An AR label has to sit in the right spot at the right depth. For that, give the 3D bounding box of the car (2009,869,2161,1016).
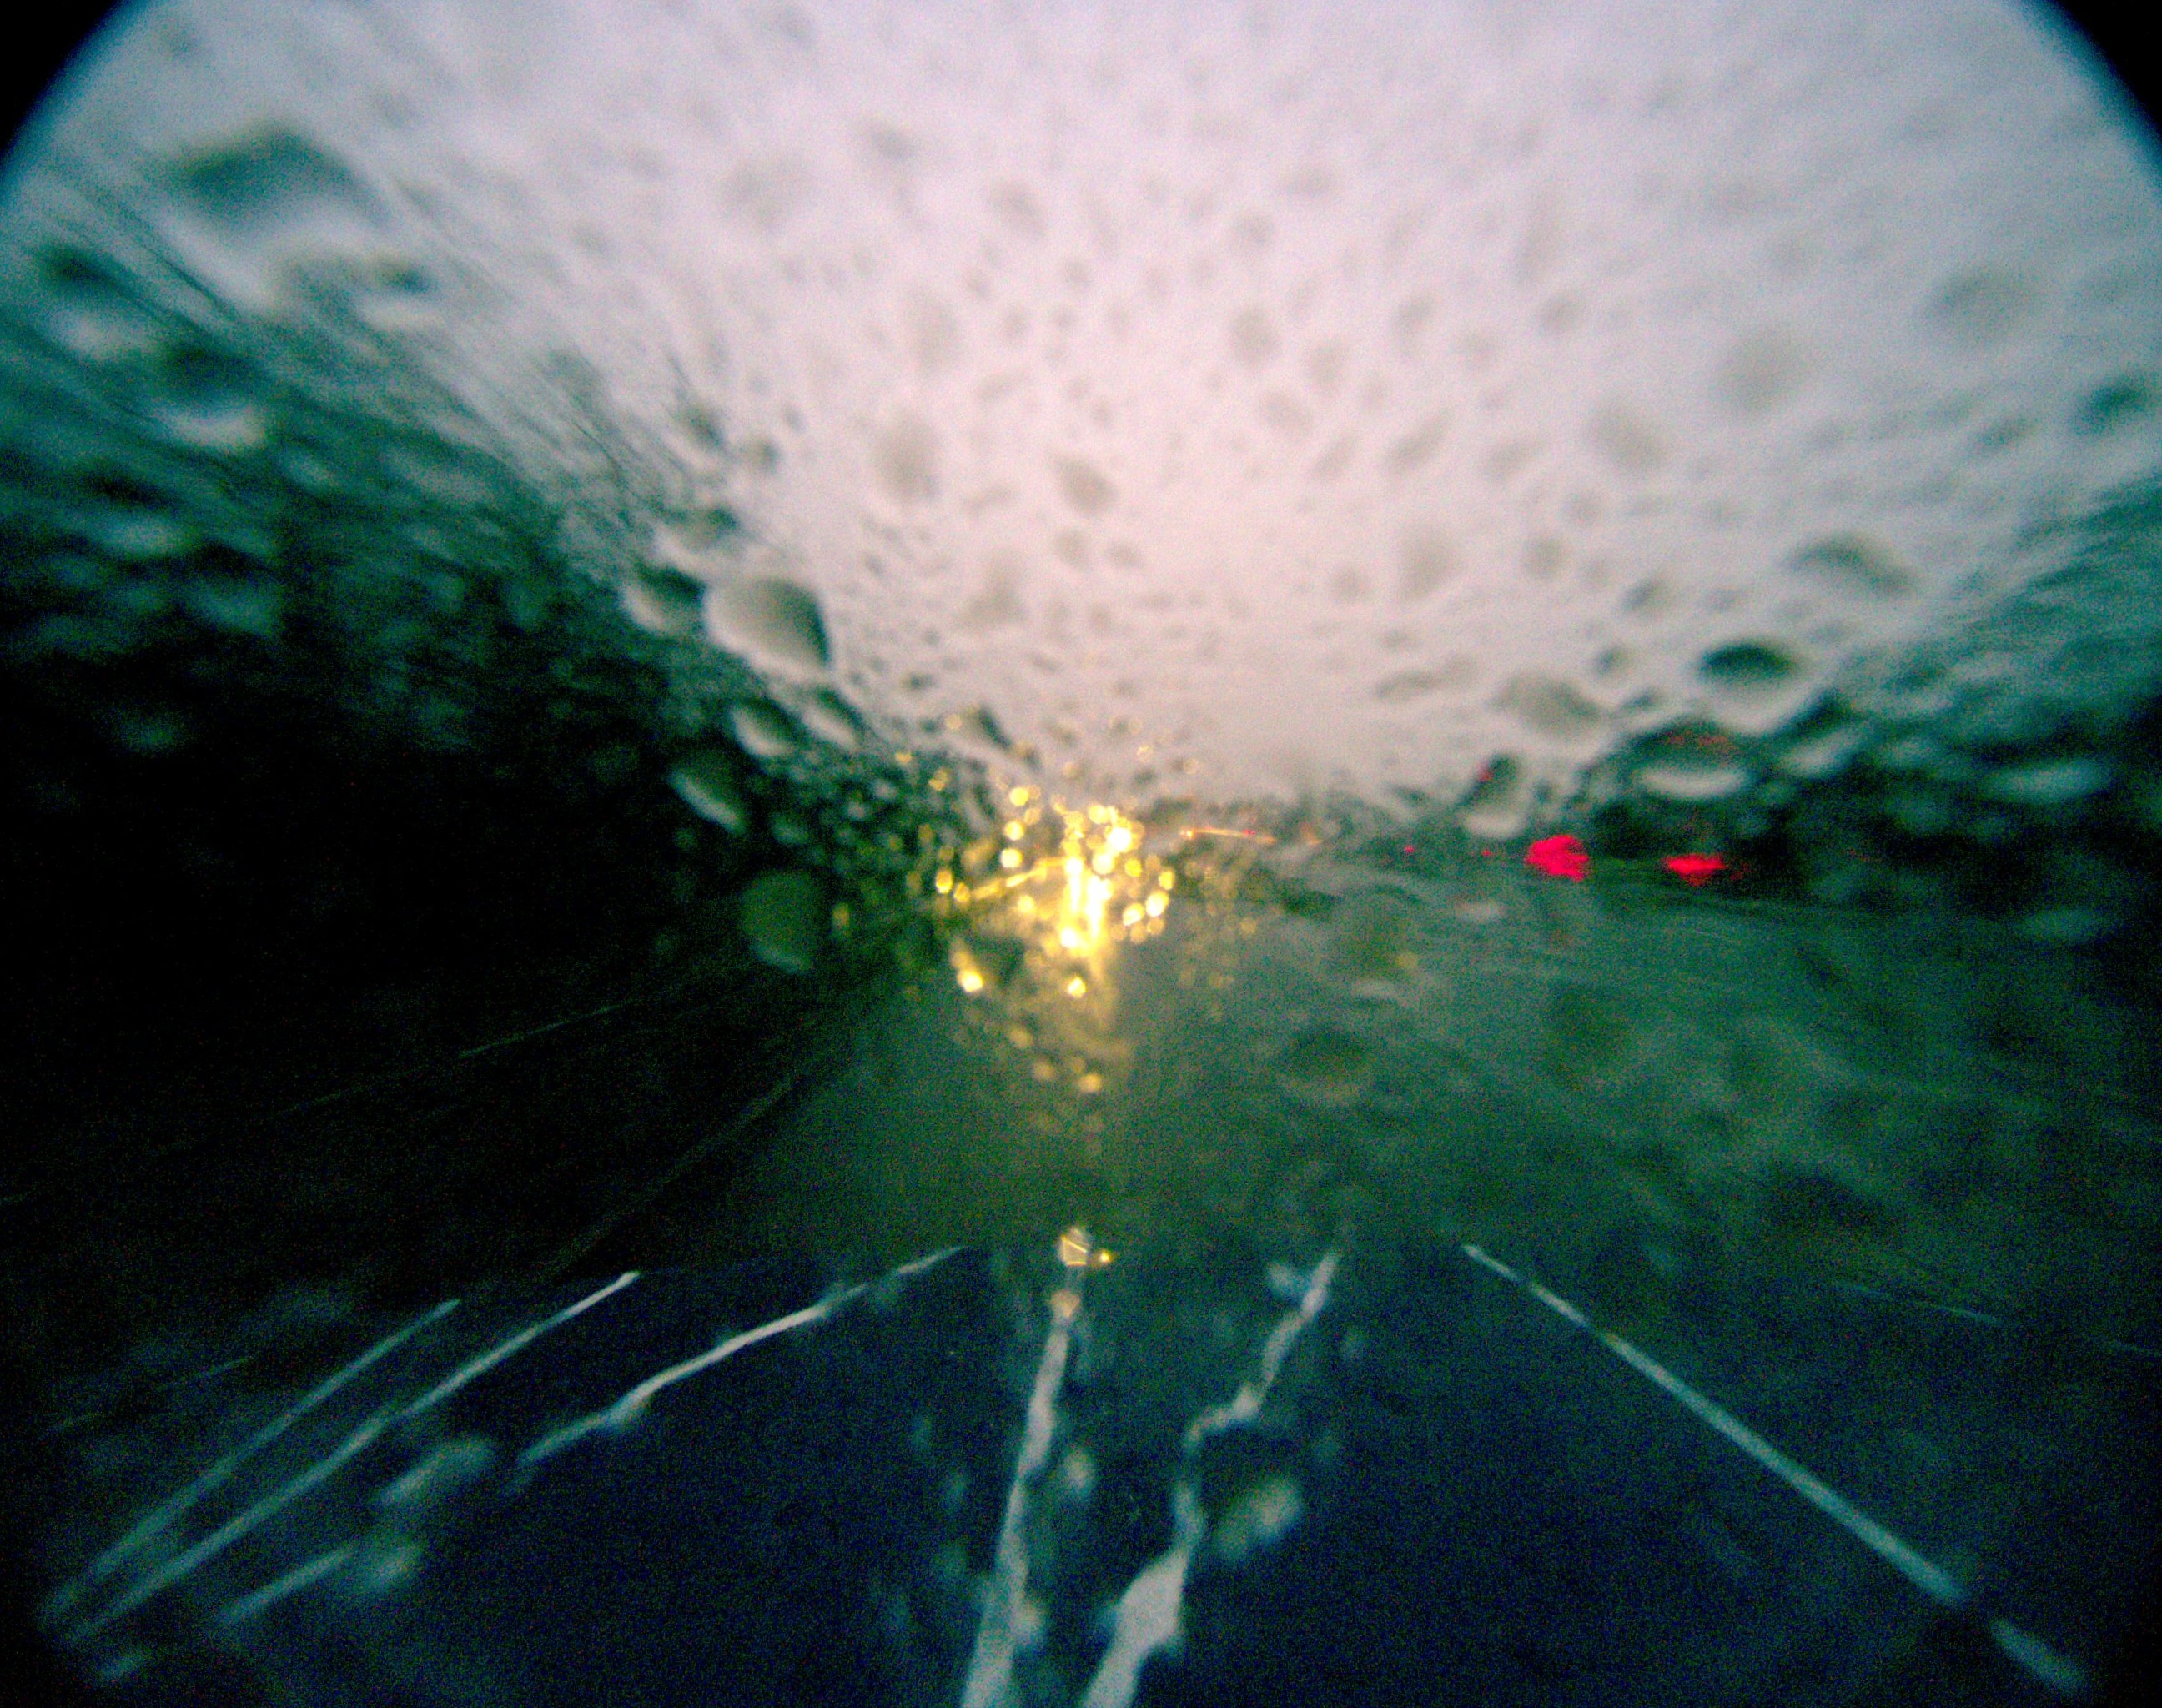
[{"bbox_3d":[12.240,0.941,7.043,1.780,1.525,4.704,-1,0,5],"label":"car"}]

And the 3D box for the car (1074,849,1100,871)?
[{"bbox_3d":[0.470,0.424,56.483,1.841,1.553,3.867,-2,1,1],"label":"car"}]

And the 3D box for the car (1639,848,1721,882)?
[{"bbox_3d":[29.626,0.493,37.704,1.461,1.556,3.652,-1,1,7],"label":"car"}]

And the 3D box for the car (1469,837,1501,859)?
[{"bbox_3d":[38.842,-0.598,73.158,1.914,2.002,4.004,-1,1,16],"label":"car"}]

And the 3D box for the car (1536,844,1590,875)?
[{"bbox_3d":[33.331,0.323,52.626,1.996,2.002,4.004,-2,1,14],"label":"car"}]
